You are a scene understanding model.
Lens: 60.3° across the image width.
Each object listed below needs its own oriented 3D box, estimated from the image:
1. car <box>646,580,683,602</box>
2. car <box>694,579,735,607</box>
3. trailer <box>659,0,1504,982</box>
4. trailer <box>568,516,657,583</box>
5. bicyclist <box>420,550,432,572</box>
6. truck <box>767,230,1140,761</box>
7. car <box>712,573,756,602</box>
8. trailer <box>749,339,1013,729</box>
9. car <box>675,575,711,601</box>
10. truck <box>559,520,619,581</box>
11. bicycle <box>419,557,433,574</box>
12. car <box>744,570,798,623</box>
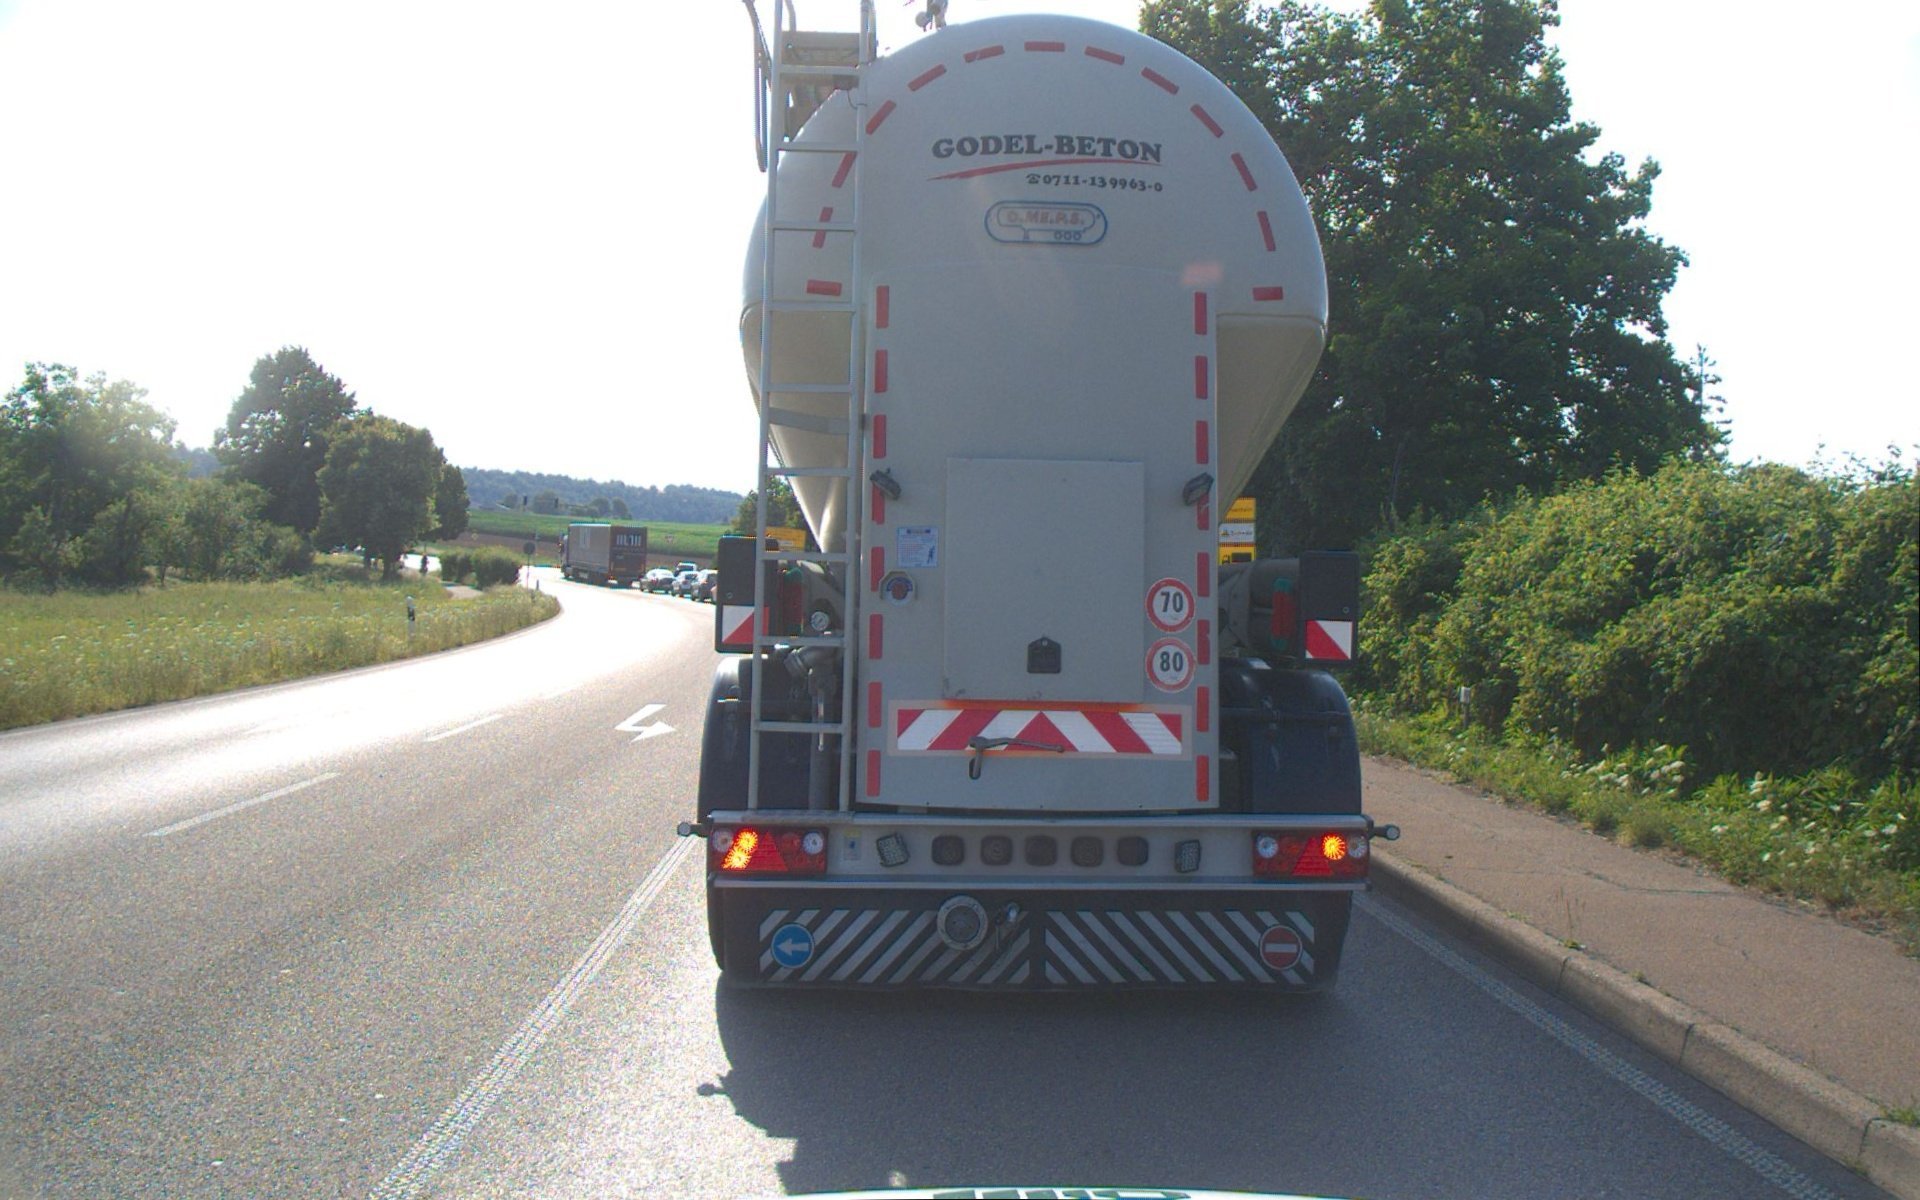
[{"bbox_3d":[-18.205,-0.557,101.783,1.742,1.227,3.408,2,0,-18],"label":"car"},{"bbox_3d":[-12.987,-0.378,87.472,1.556,1.364,3.408,2,0,-18],"label":"car"},{"bbox_3d":[0.122,-0.767,10.576,2.852,4.076,9.922,1,0,-4],"label":"trailer"},{"bbox_3d":[-25.194,-3.585,119.146,3.331,4.426,14.190,2,0,-23],"label":"trailer"},{"bbox_3d":[-36.043,-2.600,111.697,0.623,1.444,0.689,3,0,-9],"label":"bicyclist"},{"bbox_3d":[-0.187,-0.801,14.902,2.852,4.076,4.056,1,0,-4],"label":"truck"},{"bbox_3d":[-11.128,-0.627,81.335,1.556,1.364,3.408,2,0,-18],"label":"car"},{"bbox_3d":[-0.985,-0.811,26.201,2.895,4.390,14.173,2,0,-1],"label":"trailer"},{"bbox_3d":[-15.464,-0.706,95.665,1.556,1.364,3.408,2,0,-18],"label":"car"},{"bbox_3d":[-28.522,-3.744,126.894,3.331,4.426,5.664,2,0,-24],"label":"truck"},{"bbox_3d":[-36.065,-2.301,111.728,0.623,1.093,1.667,3,0,-9],"label":"bicycle"},{"bbox_3d":[-7.703,-0.151,67.162,1.828,2.049,3.709,1,0,-11],"label":"car"}]
